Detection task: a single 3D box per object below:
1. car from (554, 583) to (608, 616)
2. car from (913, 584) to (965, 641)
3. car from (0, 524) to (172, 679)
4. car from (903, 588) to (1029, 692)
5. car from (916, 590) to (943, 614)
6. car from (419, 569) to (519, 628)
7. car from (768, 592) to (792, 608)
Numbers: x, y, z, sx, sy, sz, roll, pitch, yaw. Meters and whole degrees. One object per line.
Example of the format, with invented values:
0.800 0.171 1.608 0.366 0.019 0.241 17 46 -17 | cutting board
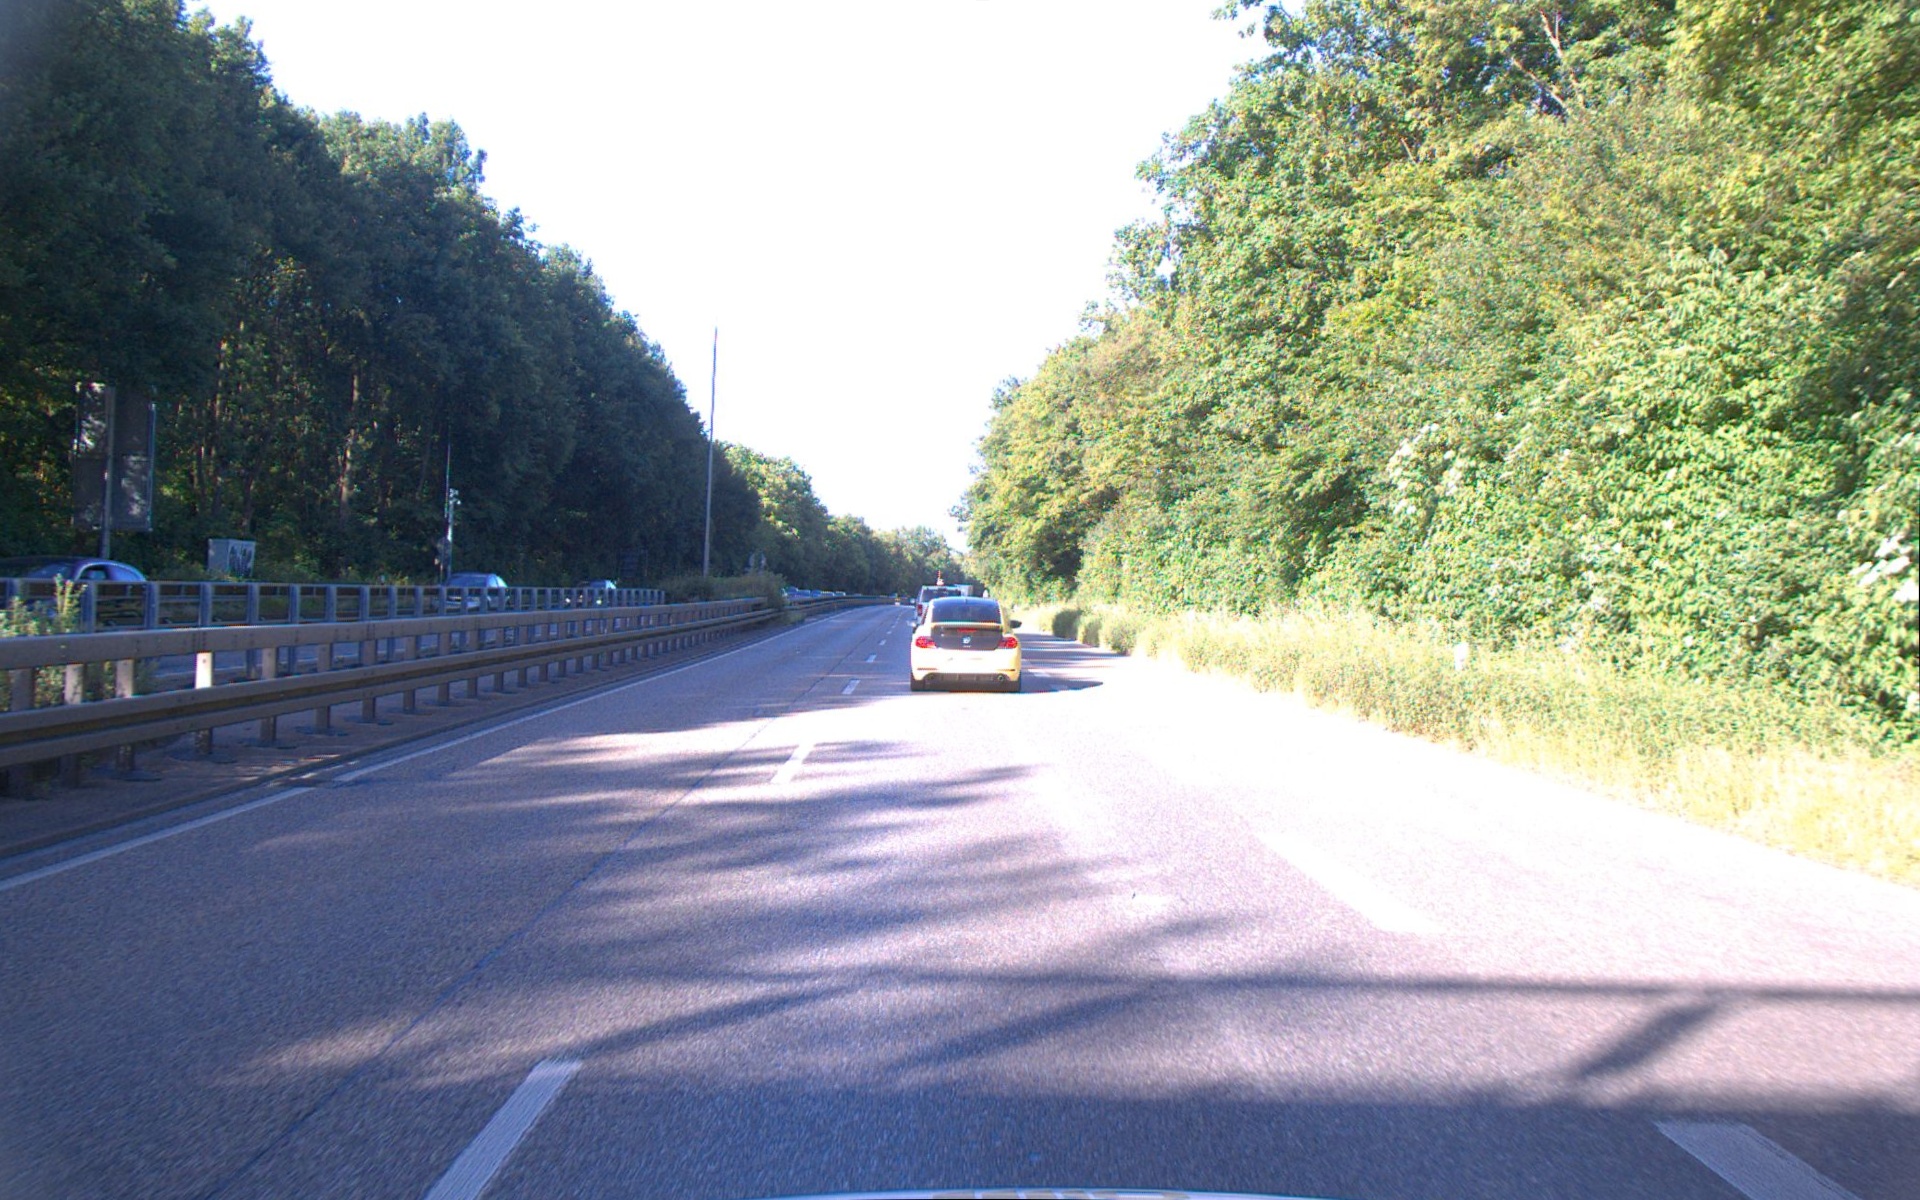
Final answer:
-18.549 -0.047 81.135 1.695 1.515 4.452 2 0 -1 | car
-0.733 0.397 55.514 1.706 1.862 3.421 0 0 -2 | car
-11.718 -0.021 20.564 1.858 1.746 4.110 2 0 -1 | car
0.158 0.621 27.043 1.899 1.535 3.423 1 0 2 | car
-2.278 0.146 124.506 1.953 1.780 4.371 1 0 -2 | car
-15.762 -0.042 53.299 1.953 1.780 4.372 1 0 -1 | car
-18.449 0.002 169.789 1.953 1.628 4.706 1 0 -1 | car
